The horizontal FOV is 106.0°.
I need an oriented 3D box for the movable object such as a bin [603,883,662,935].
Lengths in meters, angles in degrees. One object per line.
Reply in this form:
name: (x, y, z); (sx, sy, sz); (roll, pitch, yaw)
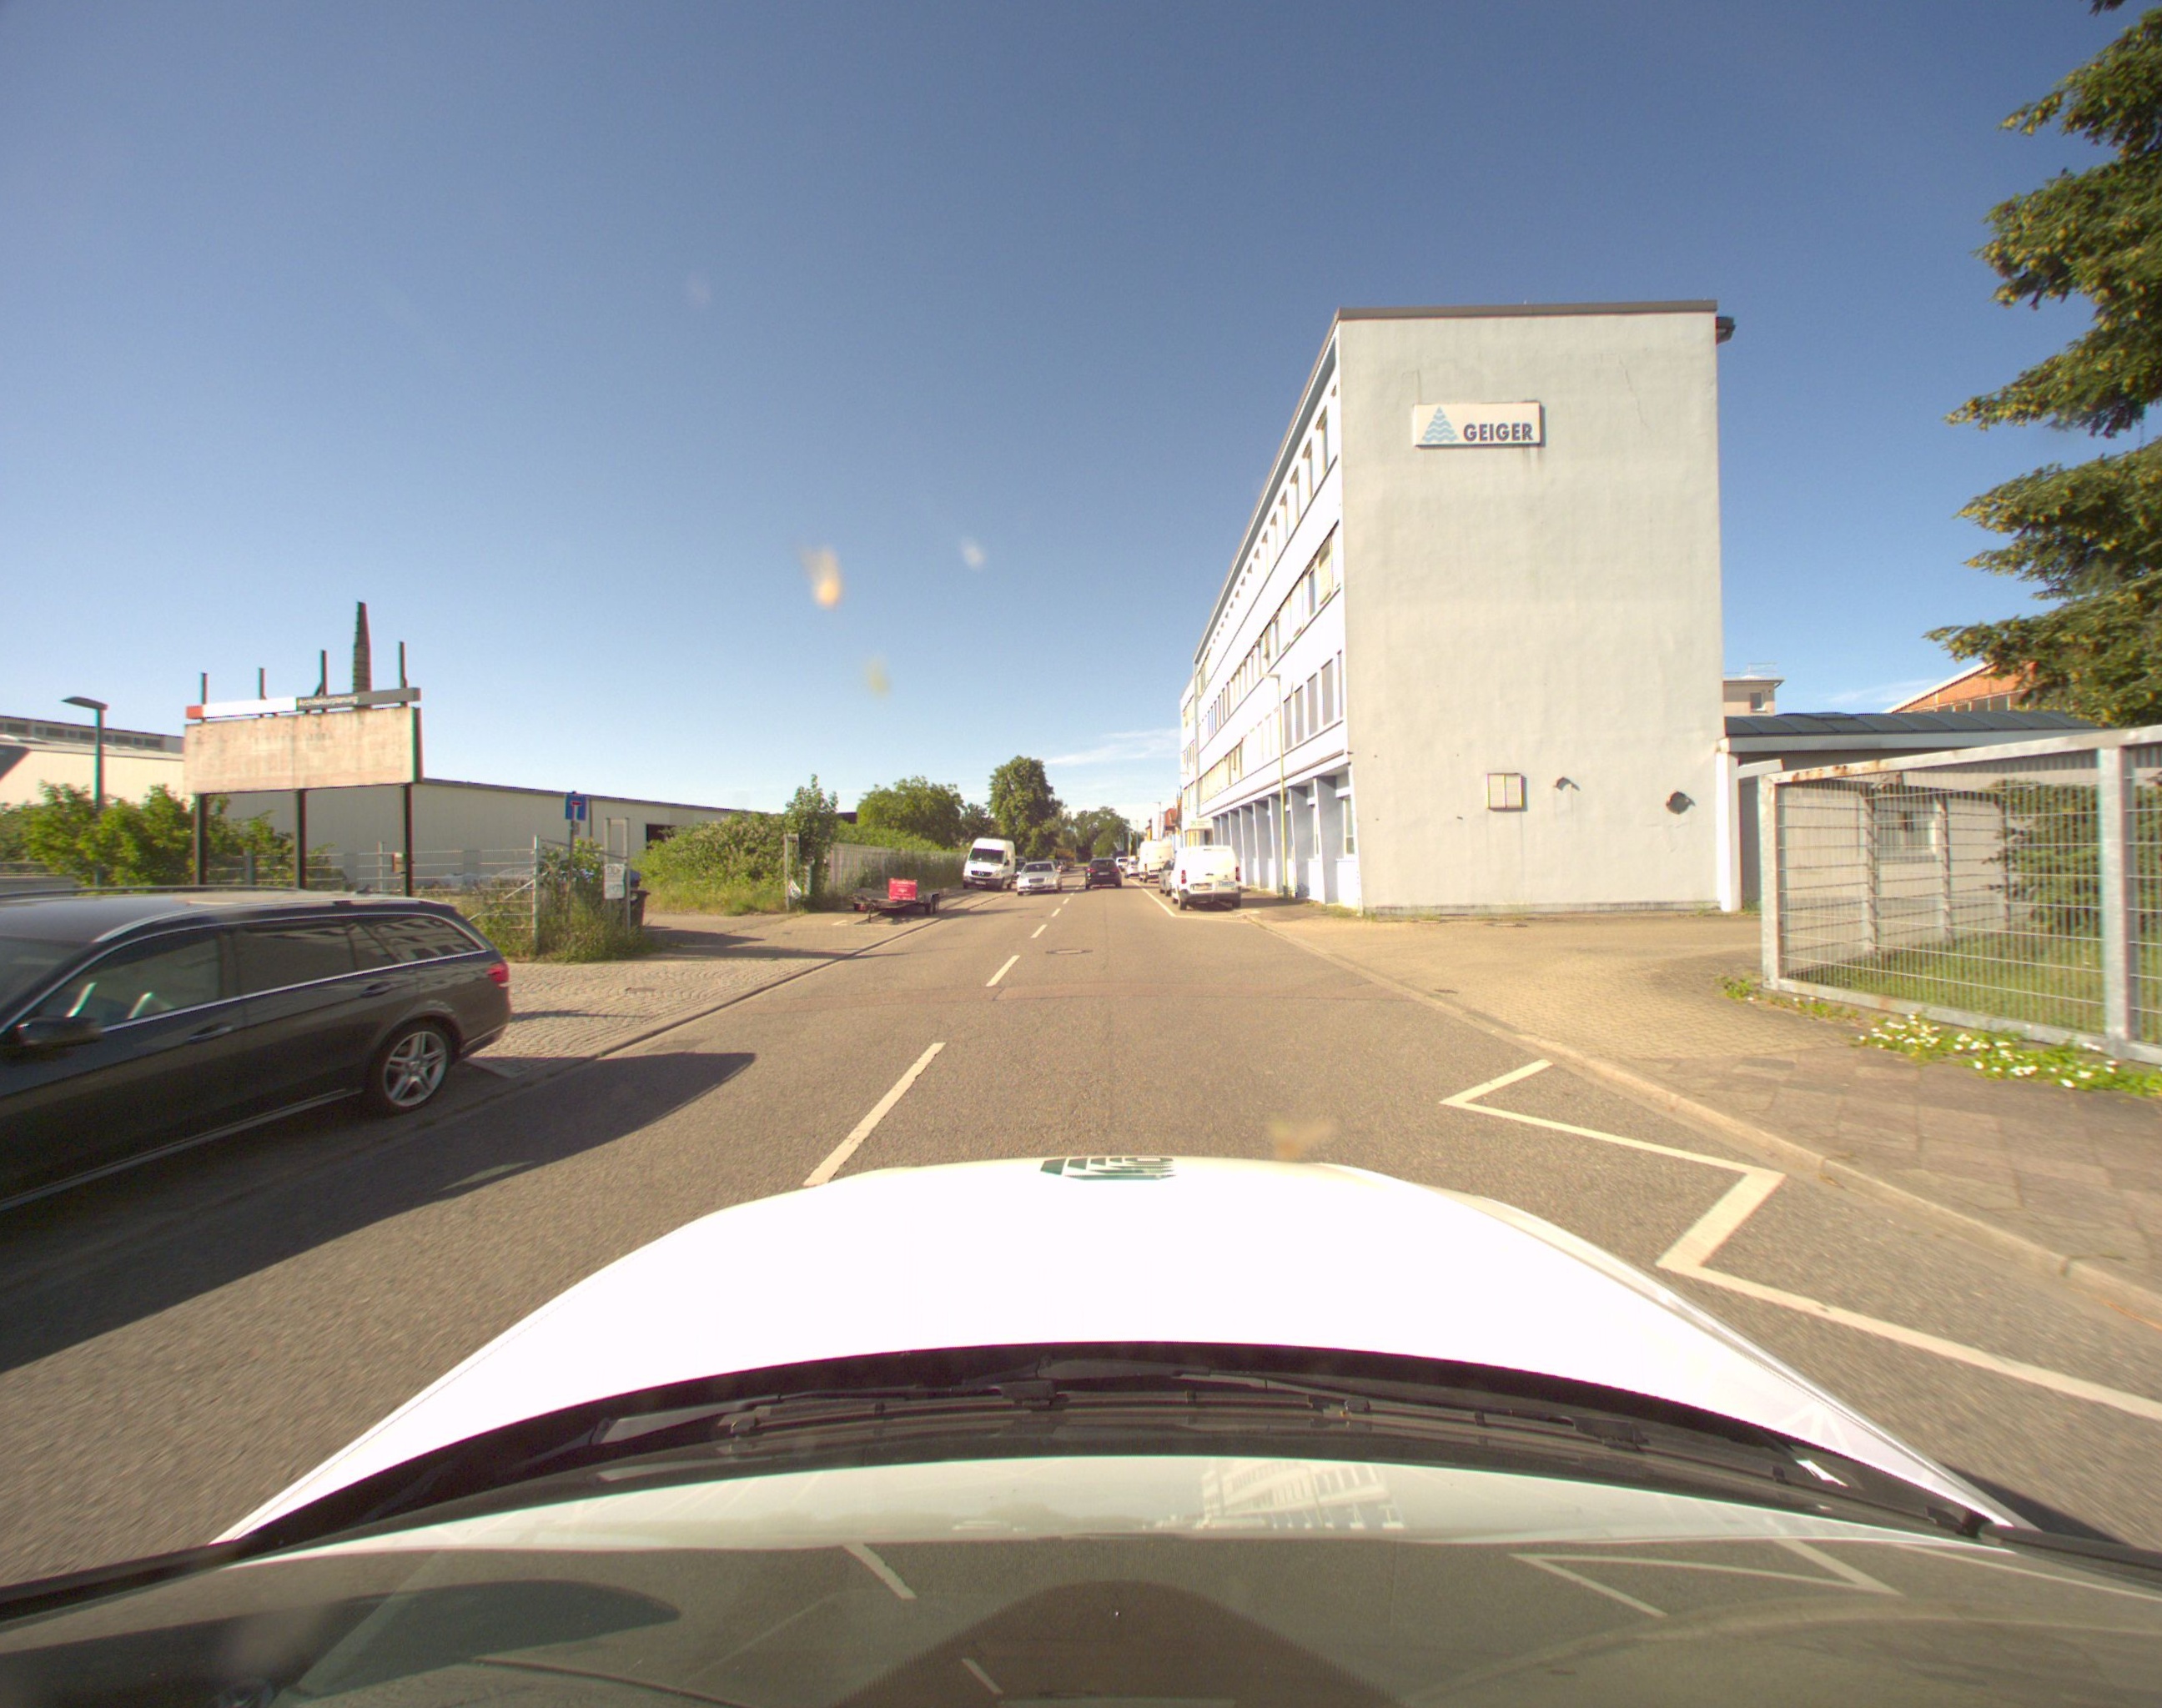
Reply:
movable object such as a bin: (-8.615, 1.050, 15.662); (0.609, 0.972, 0.753); (-2, -3, 25)

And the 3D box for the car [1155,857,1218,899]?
car: (4.164, 0.913, 32.880); (1.883, 1.561, 5.090); (0, -1, 0)

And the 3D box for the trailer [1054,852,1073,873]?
trailer: (-2.812, 1.446, 136.041); (2.982, 3.443, 8.159); (-1, -1, 0)

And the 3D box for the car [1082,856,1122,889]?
car: (1.076, 0.885, 40.451); (1.840, 1.530, 4.002); (-1, -1, 2)

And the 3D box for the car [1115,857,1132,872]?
car: (5.544, 1.395, 106.928); (1.879, 1.798, 5.103); (1, -1, 0)

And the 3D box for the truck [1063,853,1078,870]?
truck: (-2.260, 1.566, 179.641); (2.622, 3.505, 8.659); (5, 0, 1)

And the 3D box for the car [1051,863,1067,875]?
car: (-3.184, 2.177, 119.192); (1.901, 1.593, 5.027); (3, -1, 2)

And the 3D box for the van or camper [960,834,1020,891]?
van or camper: (-4.666, 0.436, 42.773); (1.958, 2.685, 5.952); (4, 0, 3)

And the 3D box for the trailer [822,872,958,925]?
trailer: (-5.330, 1.193, 23.836); (2.367, 1.080, 6.246); (3, 0, 1)

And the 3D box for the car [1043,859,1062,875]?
car: (-3.251, 1.477, 94.422); (1.784, 1.731, 4.805); (-1, -1, 3)

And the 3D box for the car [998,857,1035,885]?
car: (-4.336, 1.148, 55.694); (2.024, 1.694, 5.105); (3, 0, 0)

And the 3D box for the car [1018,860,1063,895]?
car: (-1.782, 1.017, 37.062); (1.740, 1.447, 4.361); (-1, 0, 1)

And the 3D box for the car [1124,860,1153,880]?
car: (4.374, 1.242, 62.576); (1.888, 1.405, 5.124); (1, -1, 1)

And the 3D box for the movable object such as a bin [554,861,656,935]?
movable object such as a bin: (-9.608, 0.854, 16.437); (1.603, 1.405, 1.102); (-1, -1, 29)

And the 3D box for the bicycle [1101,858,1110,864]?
bicycle: (5.508, 1.523, 184.330); (0.810, 1.268, 2.233); (2, -2, -38)

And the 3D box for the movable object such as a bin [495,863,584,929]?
movable object such as a bin: (-12.088, 0.900, 18.193); (1.447, 1.405, 1.102); (-1, -1, 29)

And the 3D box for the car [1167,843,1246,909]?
car: (3.742, 0.633, 25.176); (1.881, 1.832, 5.093); (0, -1, 3)

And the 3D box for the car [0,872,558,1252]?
car: (-5.519, 0.937, 4.517); (1.793, 1.510, 5.004); (3, 0, 2)

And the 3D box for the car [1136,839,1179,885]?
car: (4.716, 0.444, 51.058); (1.987, 2.598, 6.050); (-3, 0, 0)
